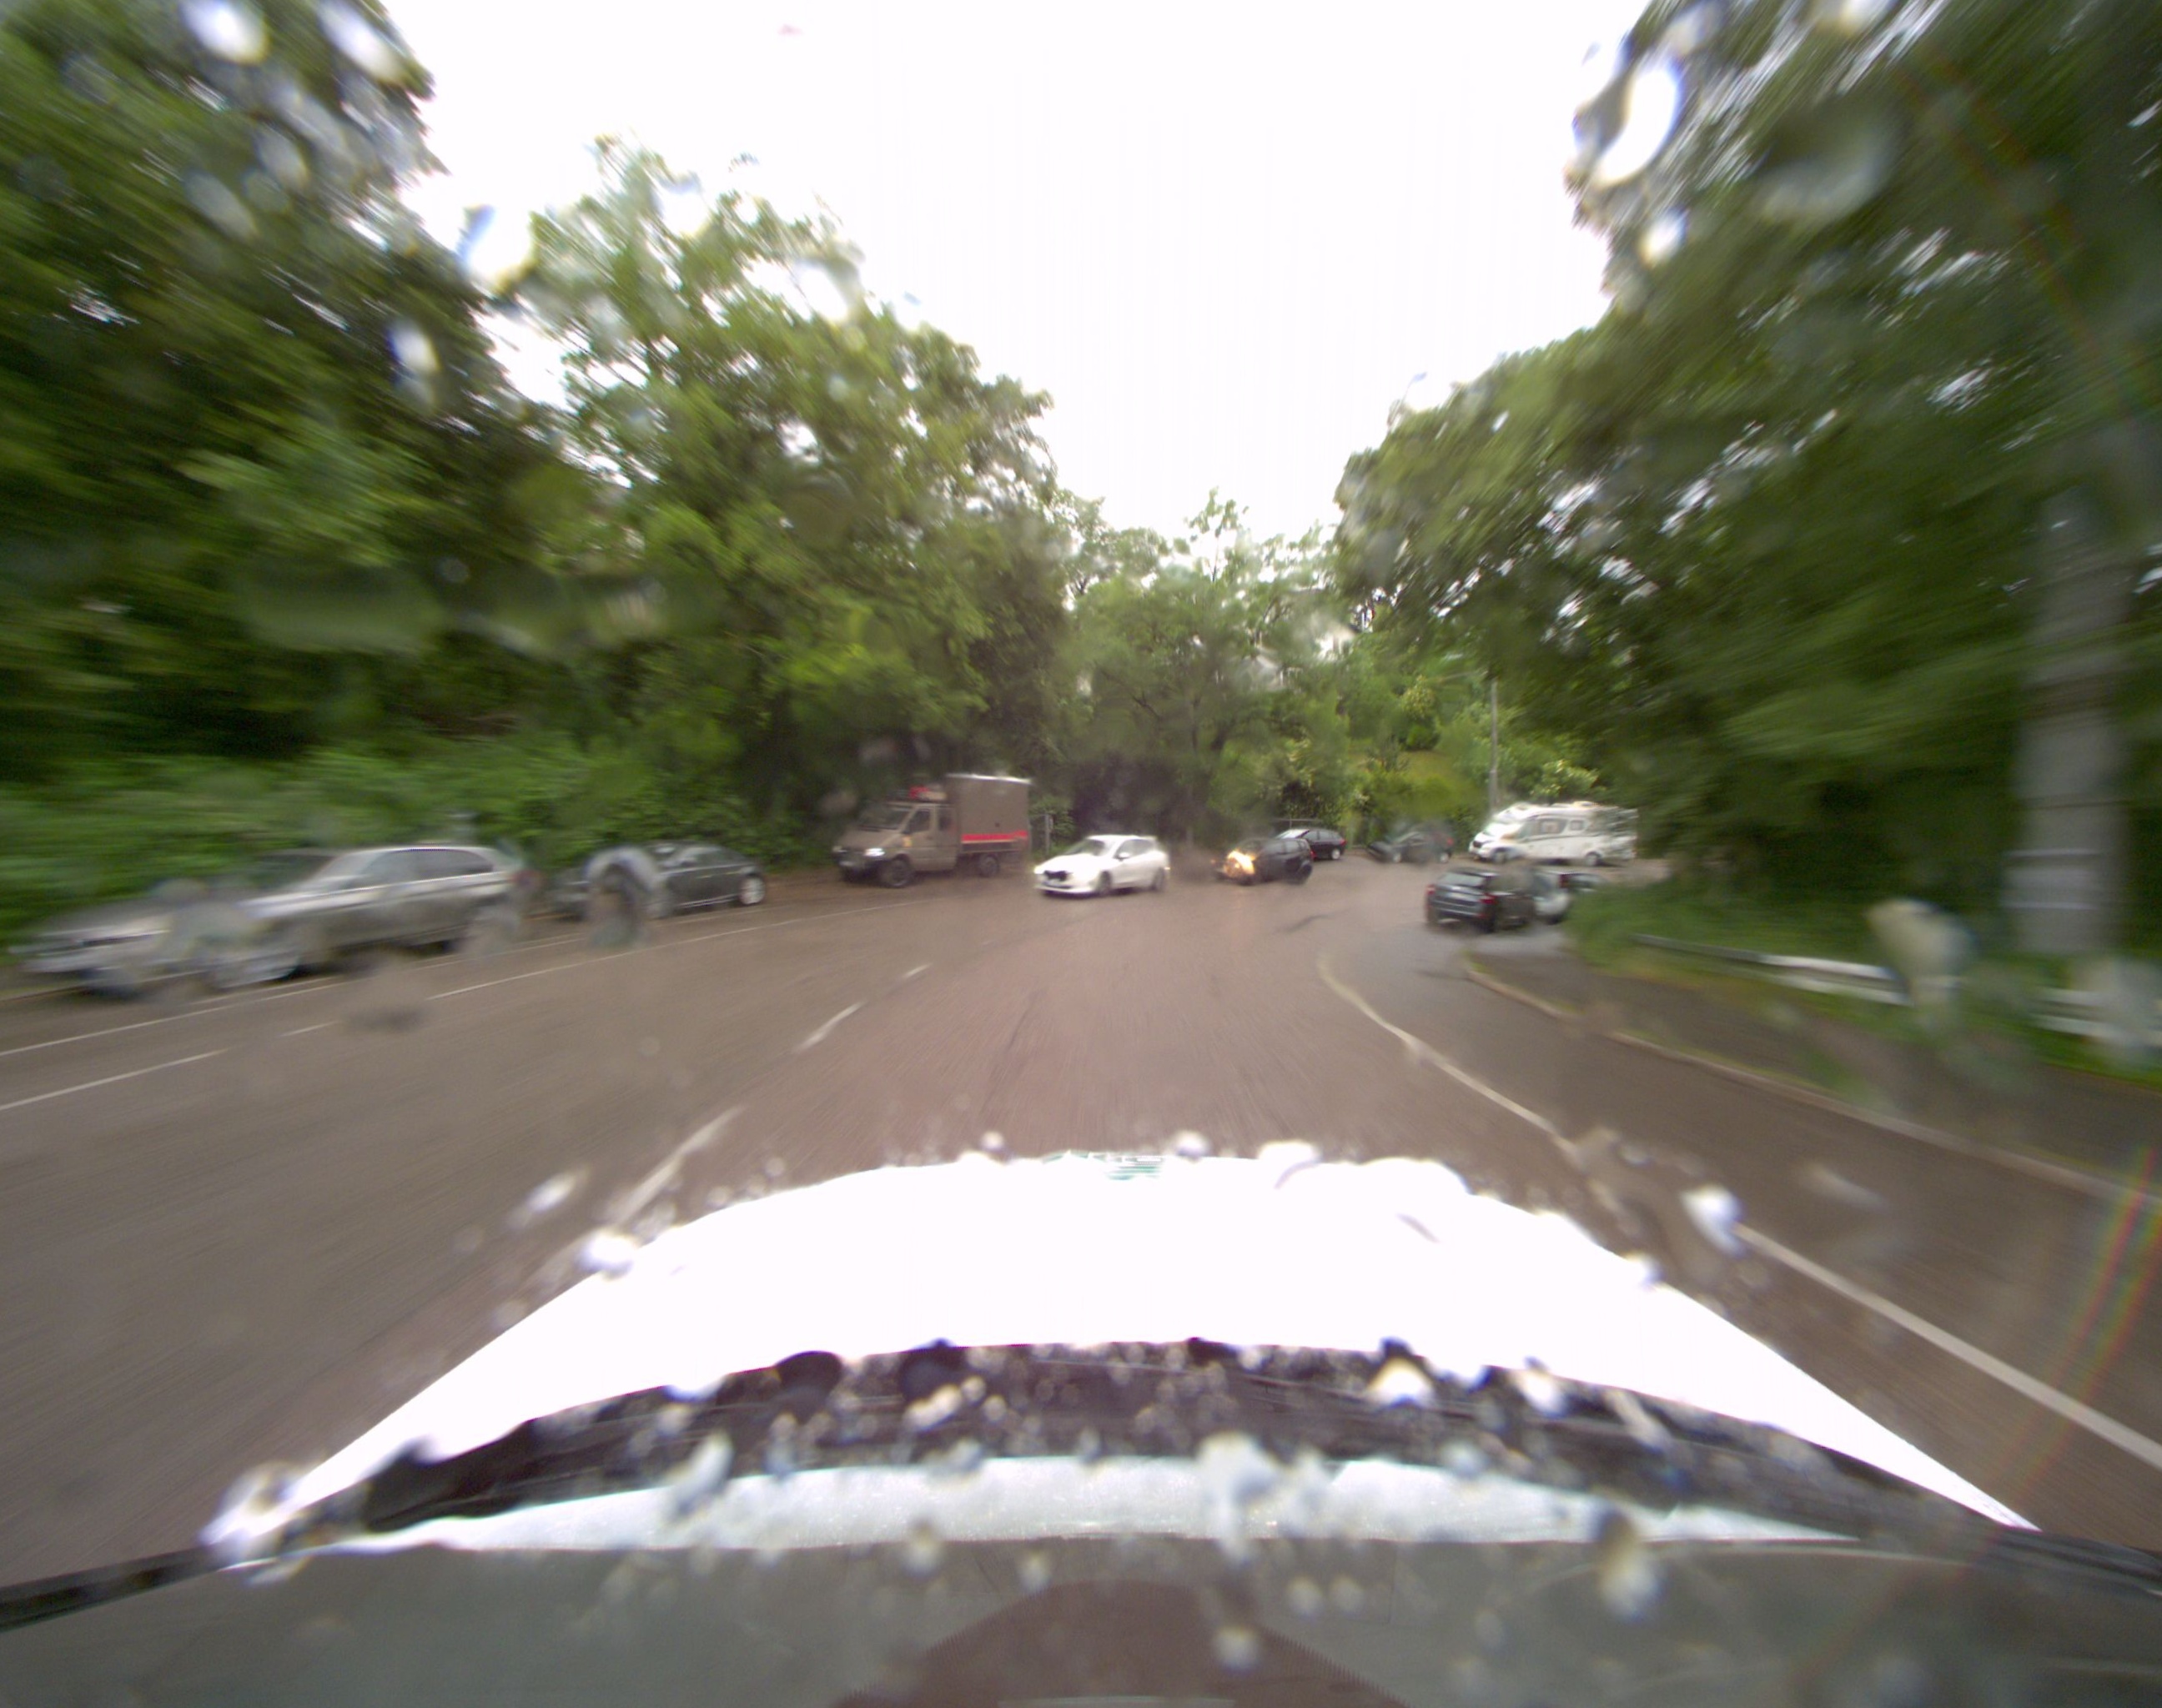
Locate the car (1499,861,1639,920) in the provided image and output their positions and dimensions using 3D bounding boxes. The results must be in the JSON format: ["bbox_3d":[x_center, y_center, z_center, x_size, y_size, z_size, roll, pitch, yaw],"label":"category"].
[{"bbox_3d":[14.092,0.993,23.518,3.738,1.407,1.676,0,5,-28],"label":"car"}]

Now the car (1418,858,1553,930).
[{"bbox_3d":[10.195,0.924,20.398,4.055,1.464,1.635,0,6,-44],"label":"car"}]

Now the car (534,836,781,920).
[{"bbox_3d":[-7.754,0.335,15.464,1.687,1.275,4.265,1,3,15],"label":"car"}]

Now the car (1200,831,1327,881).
[{"bbox_3d":[6.171,0.044,27.427,4.099,1.518,1.749,0,4,-32],"label":"car"}]

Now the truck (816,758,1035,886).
[{"bbox_3d":[-4.127,-0.889,23.136,2.014,3.102,6.655,4,3,32],"label":"truck"}]

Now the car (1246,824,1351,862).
[{"bbox_3d":[9.673,-0.498,36.167,4.320,1.464,1.771,0,6,-25],"label":"car"}]

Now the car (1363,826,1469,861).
[{"bbox_3d":[15.703,-0.512,38.277,4.299,1.355,1.755,1,6,-10],"label":"car"}]

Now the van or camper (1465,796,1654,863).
[{"bbox_3d":[22.844,-1.219,39.097,7.613,2.930,2.202,1,6,-1],"label":"van or camper"}]

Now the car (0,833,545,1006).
[{"bbox_3d":[-9.032,0.540,9.812,1.690,1.498,4.540,1,2,8],"label":"car"}]

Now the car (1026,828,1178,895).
[{"bbox_3d":[0.684,0.144,21.851,1.781,1.569,4.484,3,2,36],"label":"car"}]
